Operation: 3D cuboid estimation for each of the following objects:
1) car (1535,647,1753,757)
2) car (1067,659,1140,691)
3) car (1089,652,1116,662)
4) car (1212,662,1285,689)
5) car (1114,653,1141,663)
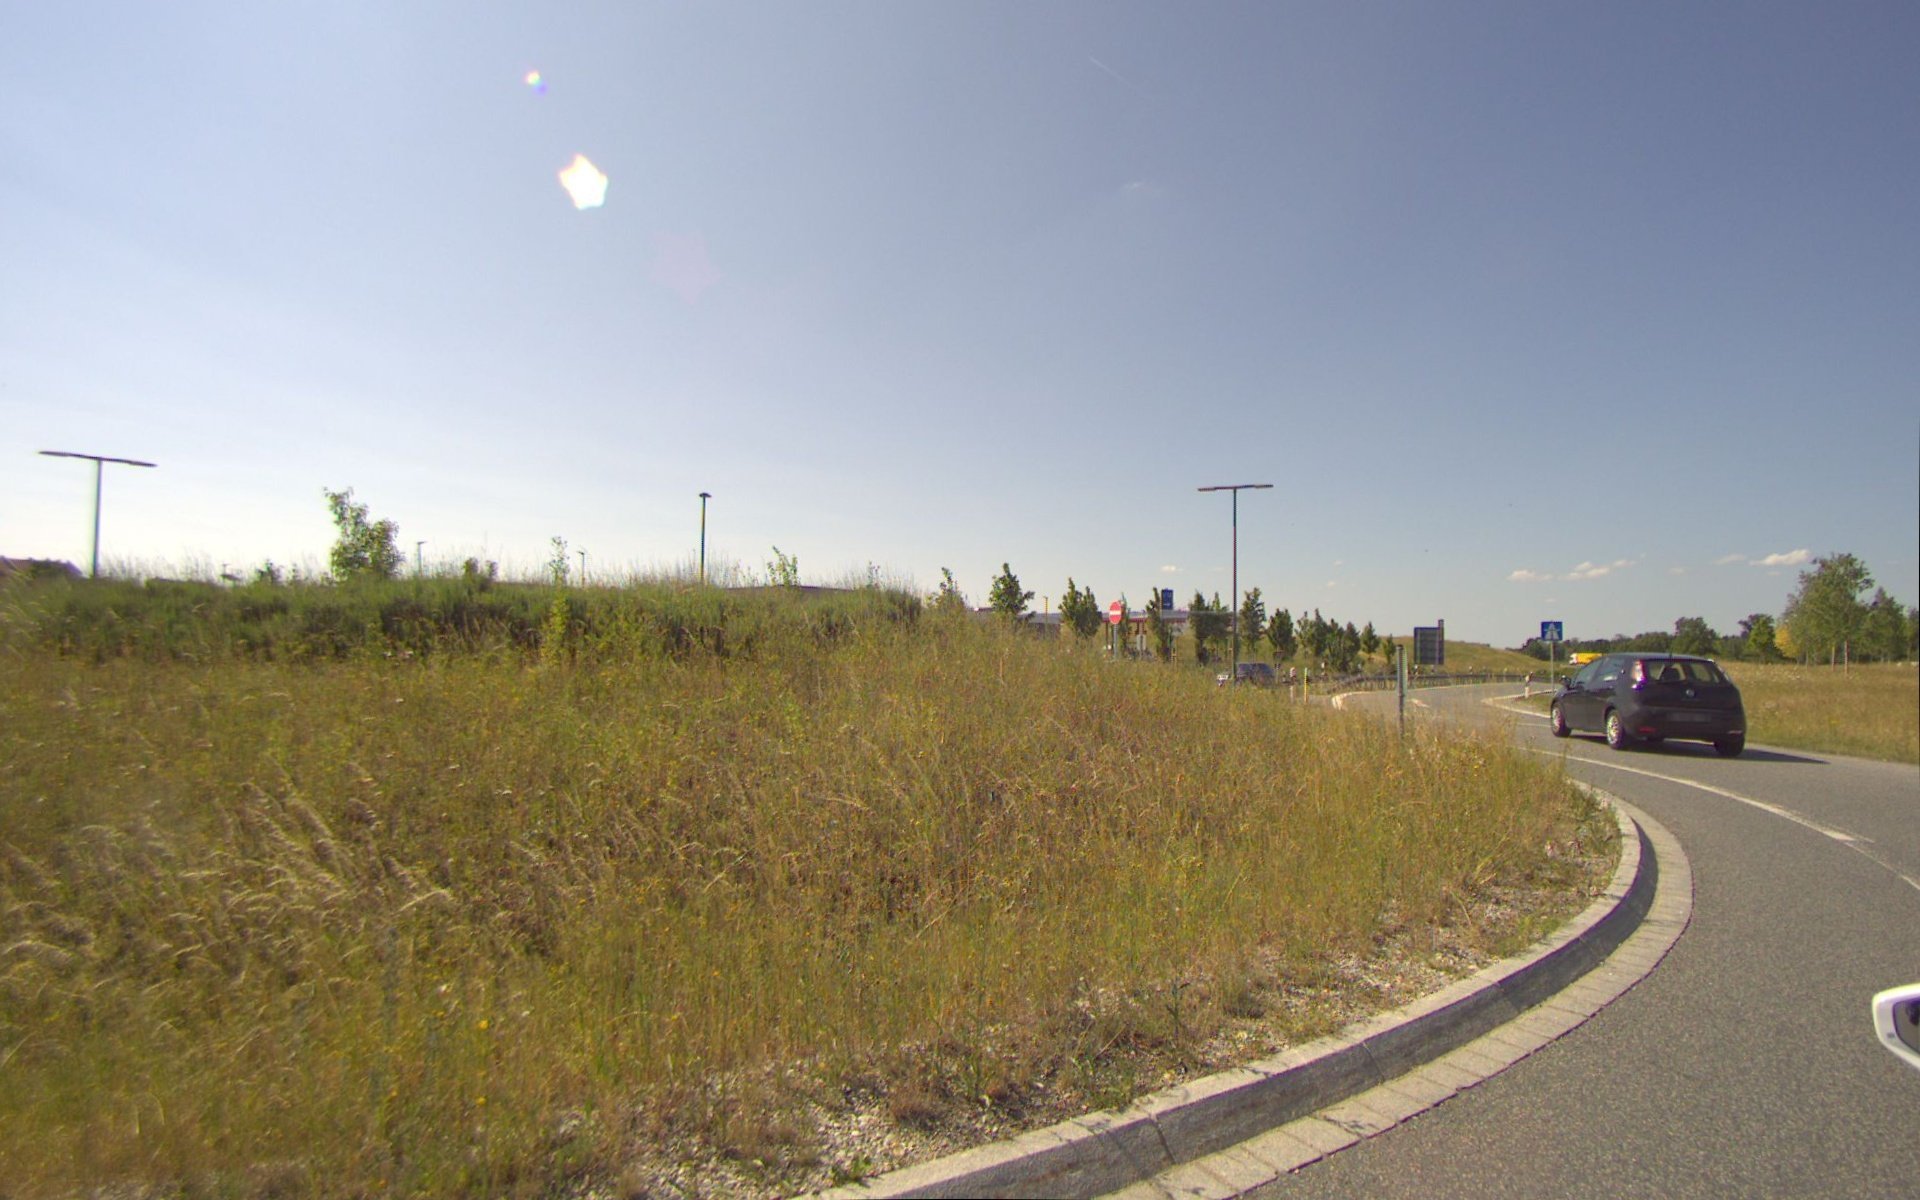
[{"bbox_3d":[10.917,1.567,16.368,1.611,1.507,3.908,1,-3,13],"label":"car"},{"bbox_3d":[6.869,3.545,47.810,1.671,1.432,3.560,-2,-4,45],"label":"car"},{"bbox_3d":[15.927,6.361,112.363,2.662,1.022,1.244,-1,-3,32],"label":"car"},{"bbox_3d":[16.224,4.229,56.361,4.326,1.432,1.676,3,-3,-37],"label":"car"},{"bbox_3d":[18.741,6.472,112.407,2.662,1.022,1.379,-1,-3,32],"label":"car"}]
